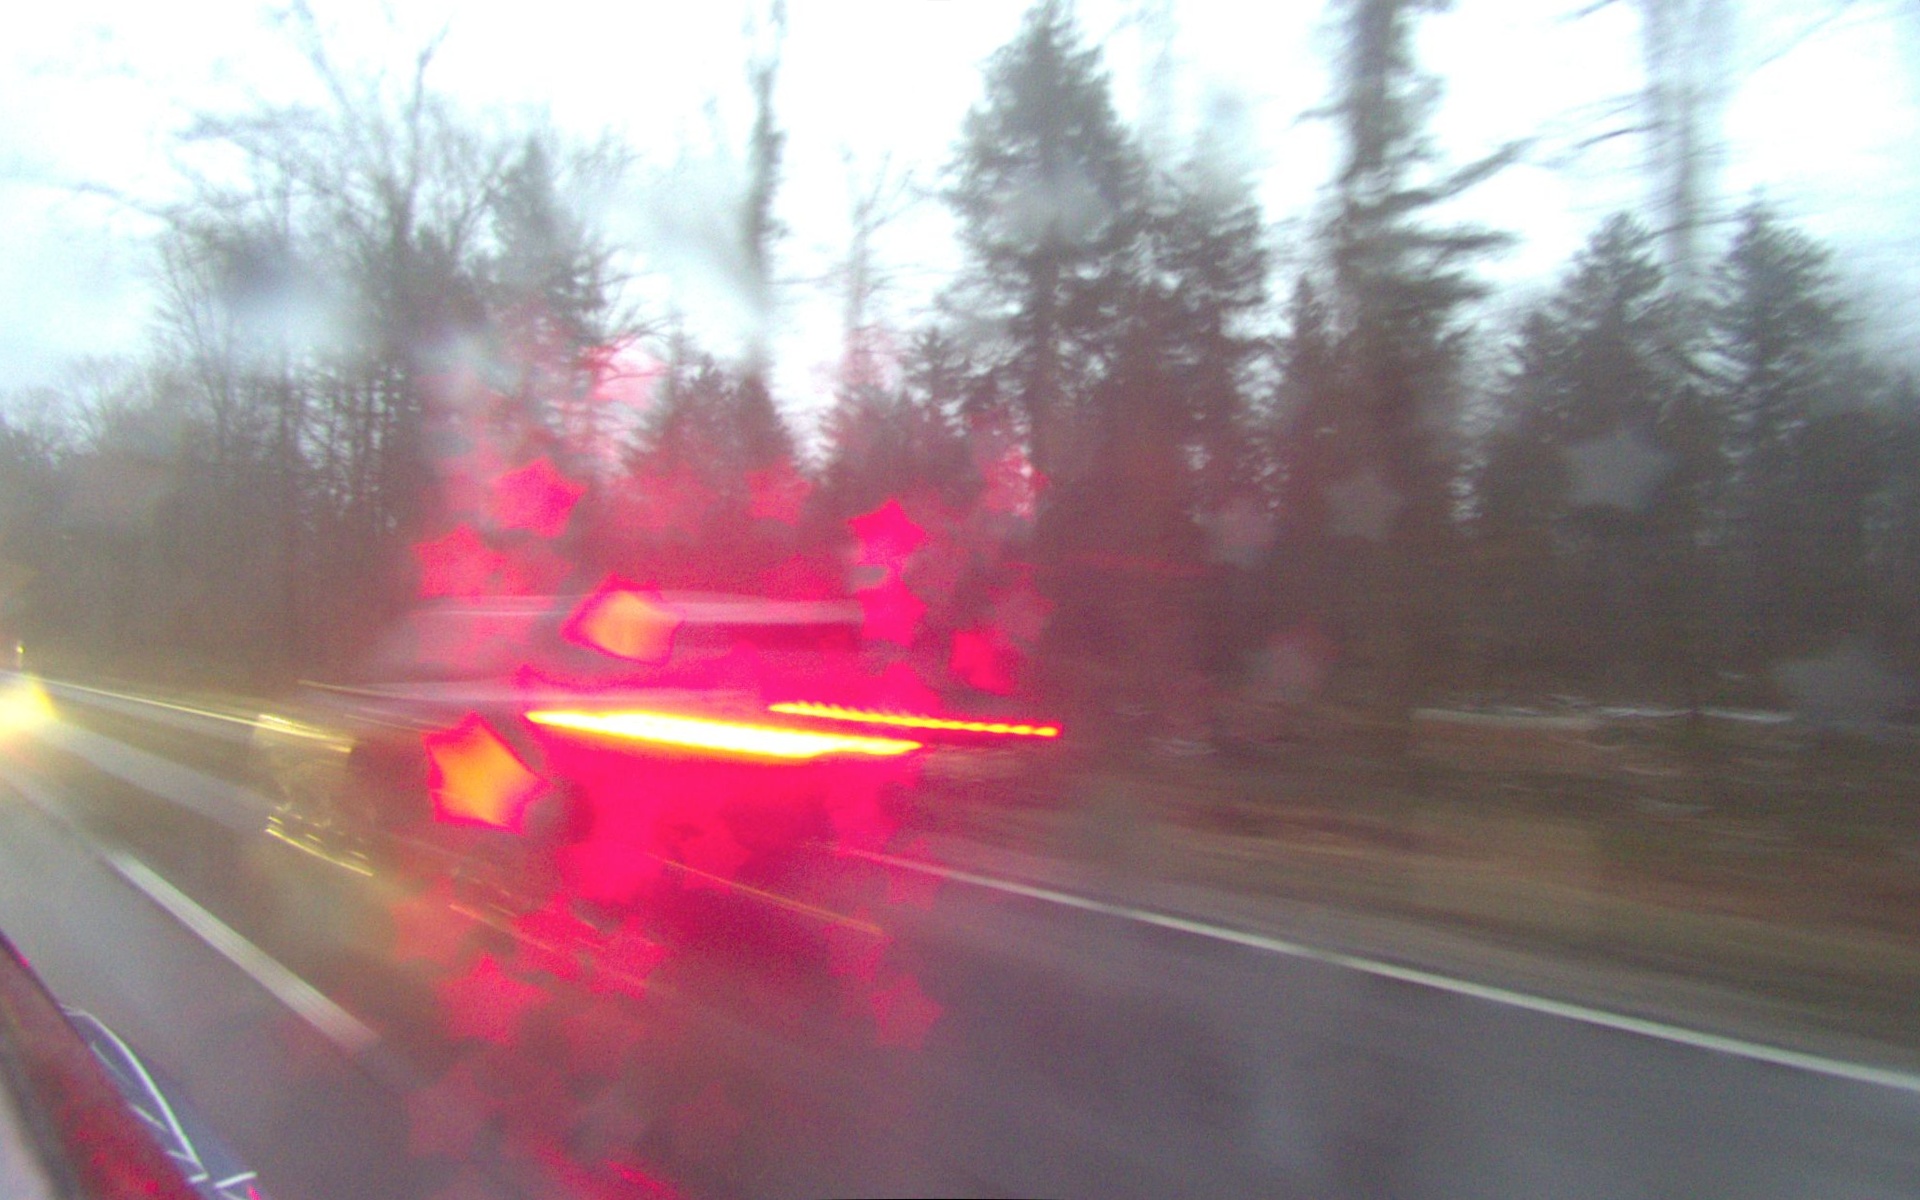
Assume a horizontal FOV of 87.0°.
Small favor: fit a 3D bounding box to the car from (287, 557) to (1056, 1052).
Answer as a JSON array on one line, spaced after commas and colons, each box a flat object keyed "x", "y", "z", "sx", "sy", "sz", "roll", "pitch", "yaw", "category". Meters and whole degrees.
[{"x": -1.768, "y": 0.725, "z": 5.489, "sx": 4.149, "sy": 1.628, "sz": 2.054, "roll": -1, "pitch": -2, "yaw": 40, "category": "car"}]
